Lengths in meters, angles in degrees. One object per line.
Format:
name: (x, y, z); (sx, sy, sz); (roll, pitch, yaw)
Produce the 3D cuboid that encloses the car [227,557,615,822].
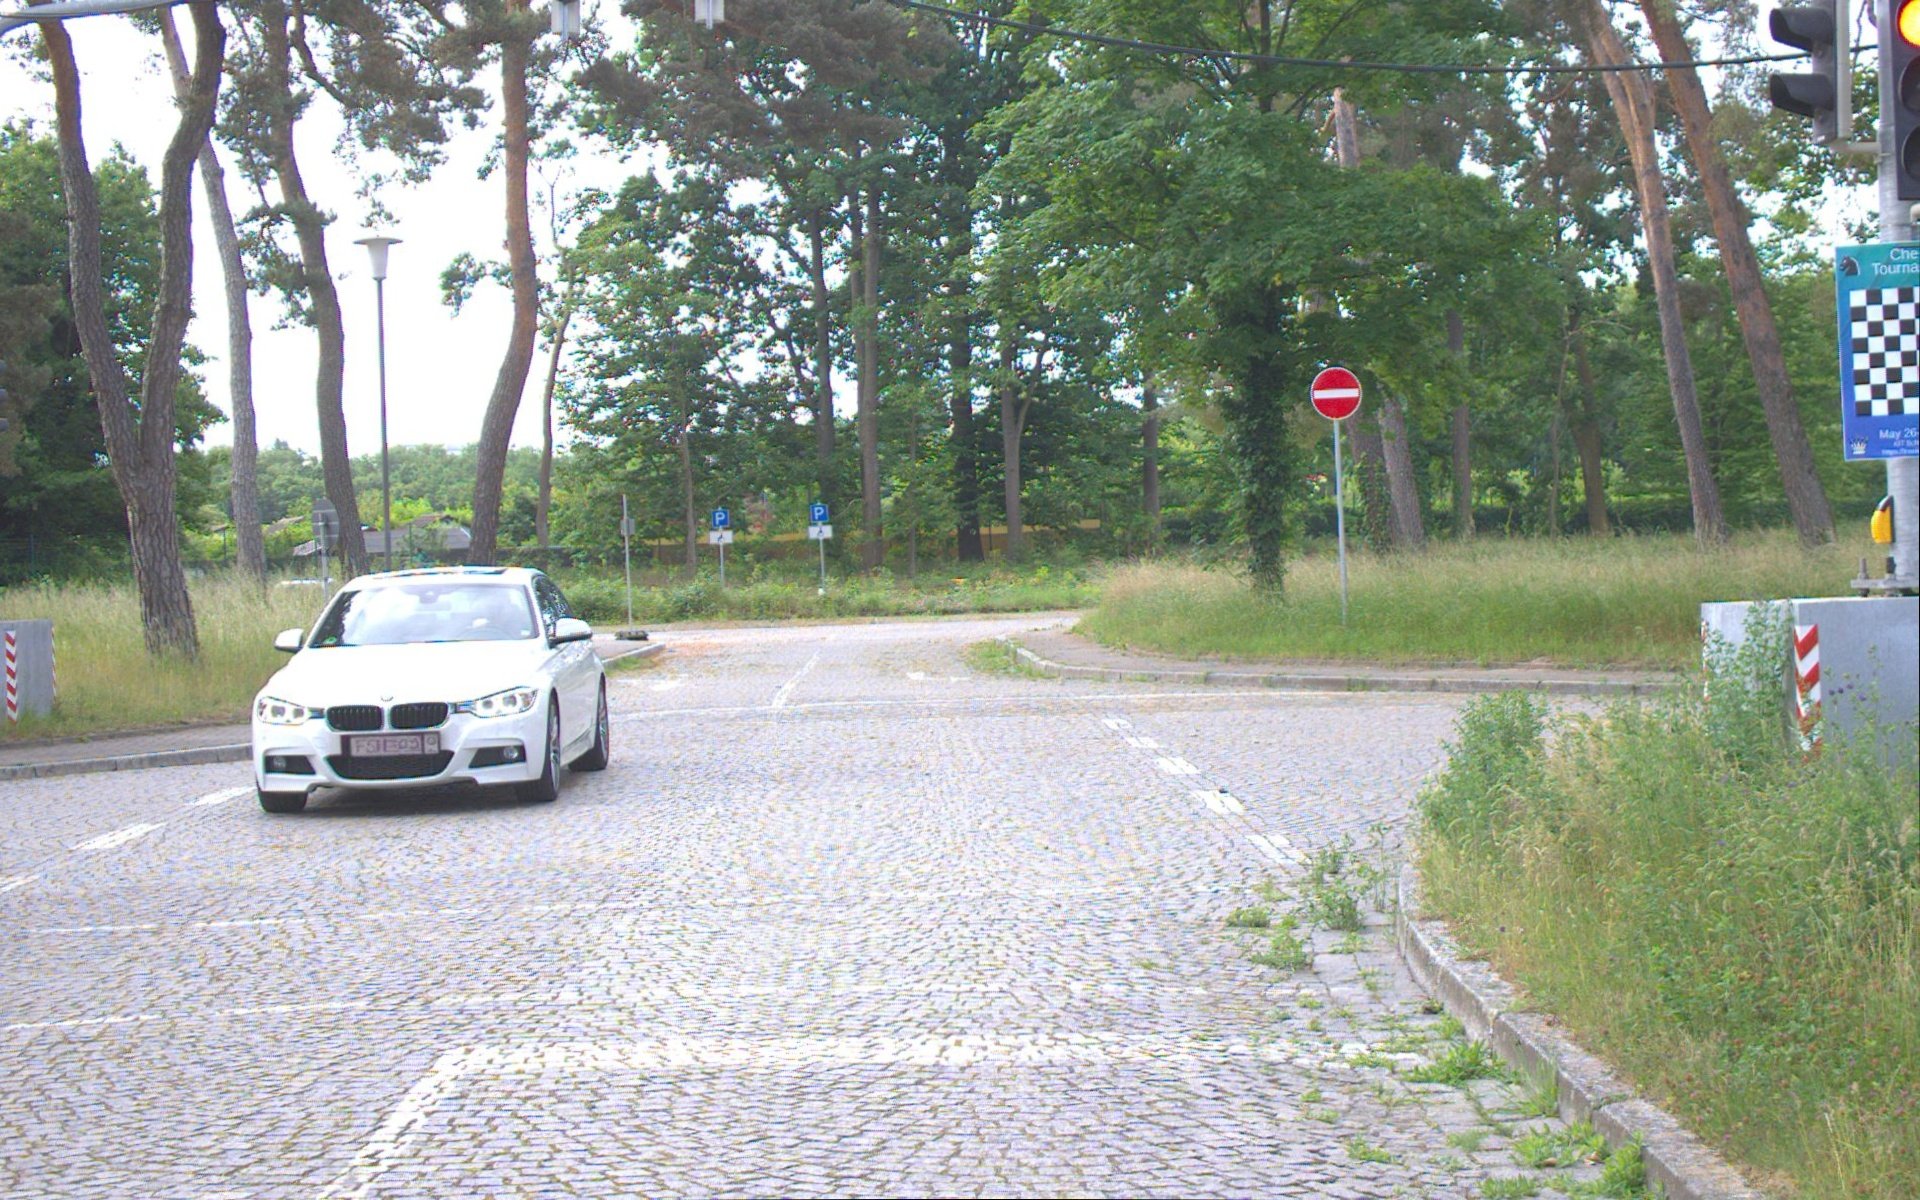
car: (-3.335, 0.493, 22.044); (1.773, 1.433, 4.218); (-3, 1, 0)
